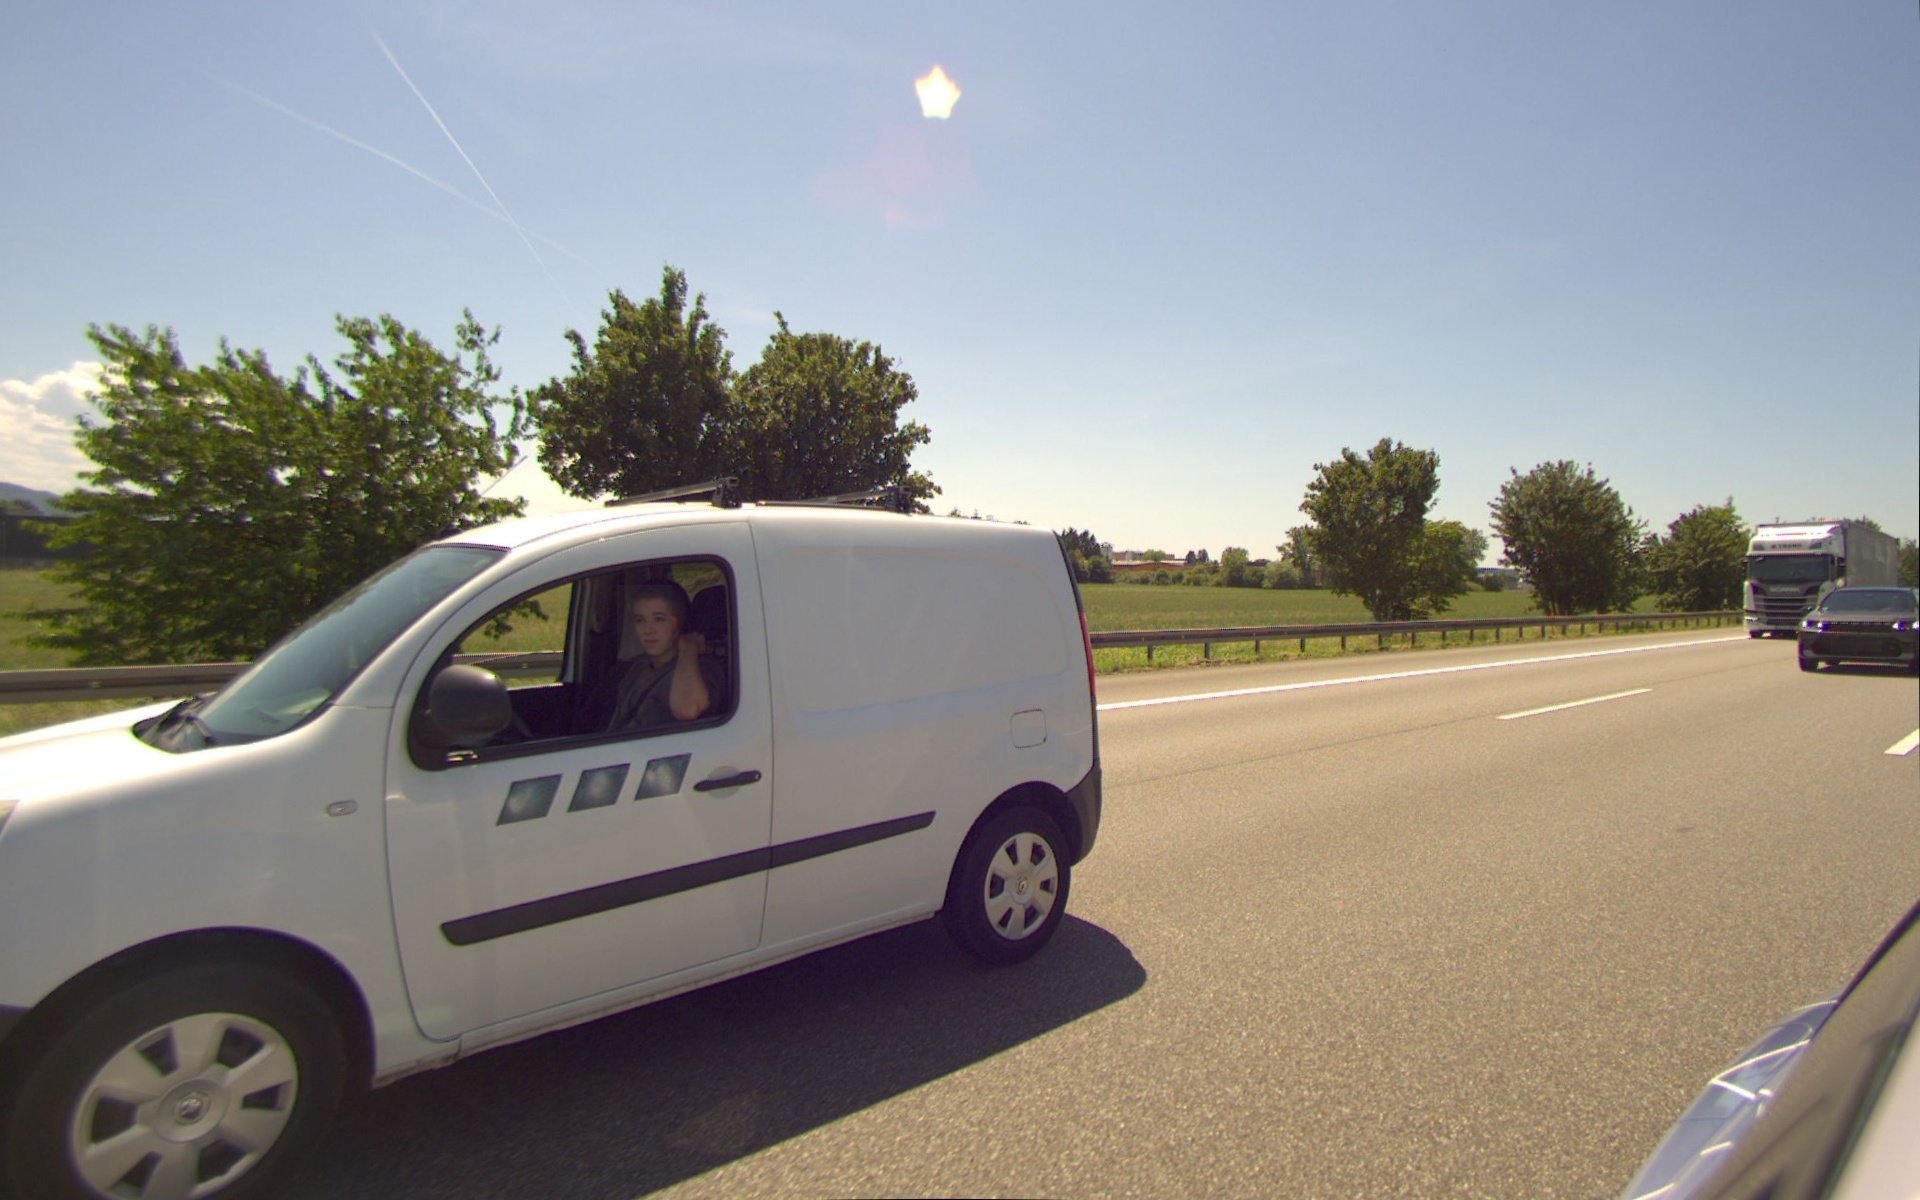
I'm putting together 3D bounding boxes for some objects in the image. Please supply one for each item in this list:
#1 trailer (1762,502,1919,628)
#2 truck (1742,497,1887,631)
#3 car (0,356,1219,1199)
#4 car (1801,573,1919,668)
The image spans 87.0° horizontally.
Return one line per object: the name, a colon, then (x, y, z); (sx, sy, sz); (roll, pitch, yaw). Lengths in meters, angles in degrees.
trailer: (35.748, -1.245, 40.596); (14.001, 4.359, 2.815); (0, 0, -40)
truck: (30.906, -1.204, 36.500); (7.065, 4.359, 2.815); (0, 0, -40)
car: (-1.103, 0.439, 4.001); (4.621, 1.886, 1.856); (0, 0, -41)
car: (18.607, 0.355, 20.281); (4.661, 1.696, 1.871); (0, 0, -40)
